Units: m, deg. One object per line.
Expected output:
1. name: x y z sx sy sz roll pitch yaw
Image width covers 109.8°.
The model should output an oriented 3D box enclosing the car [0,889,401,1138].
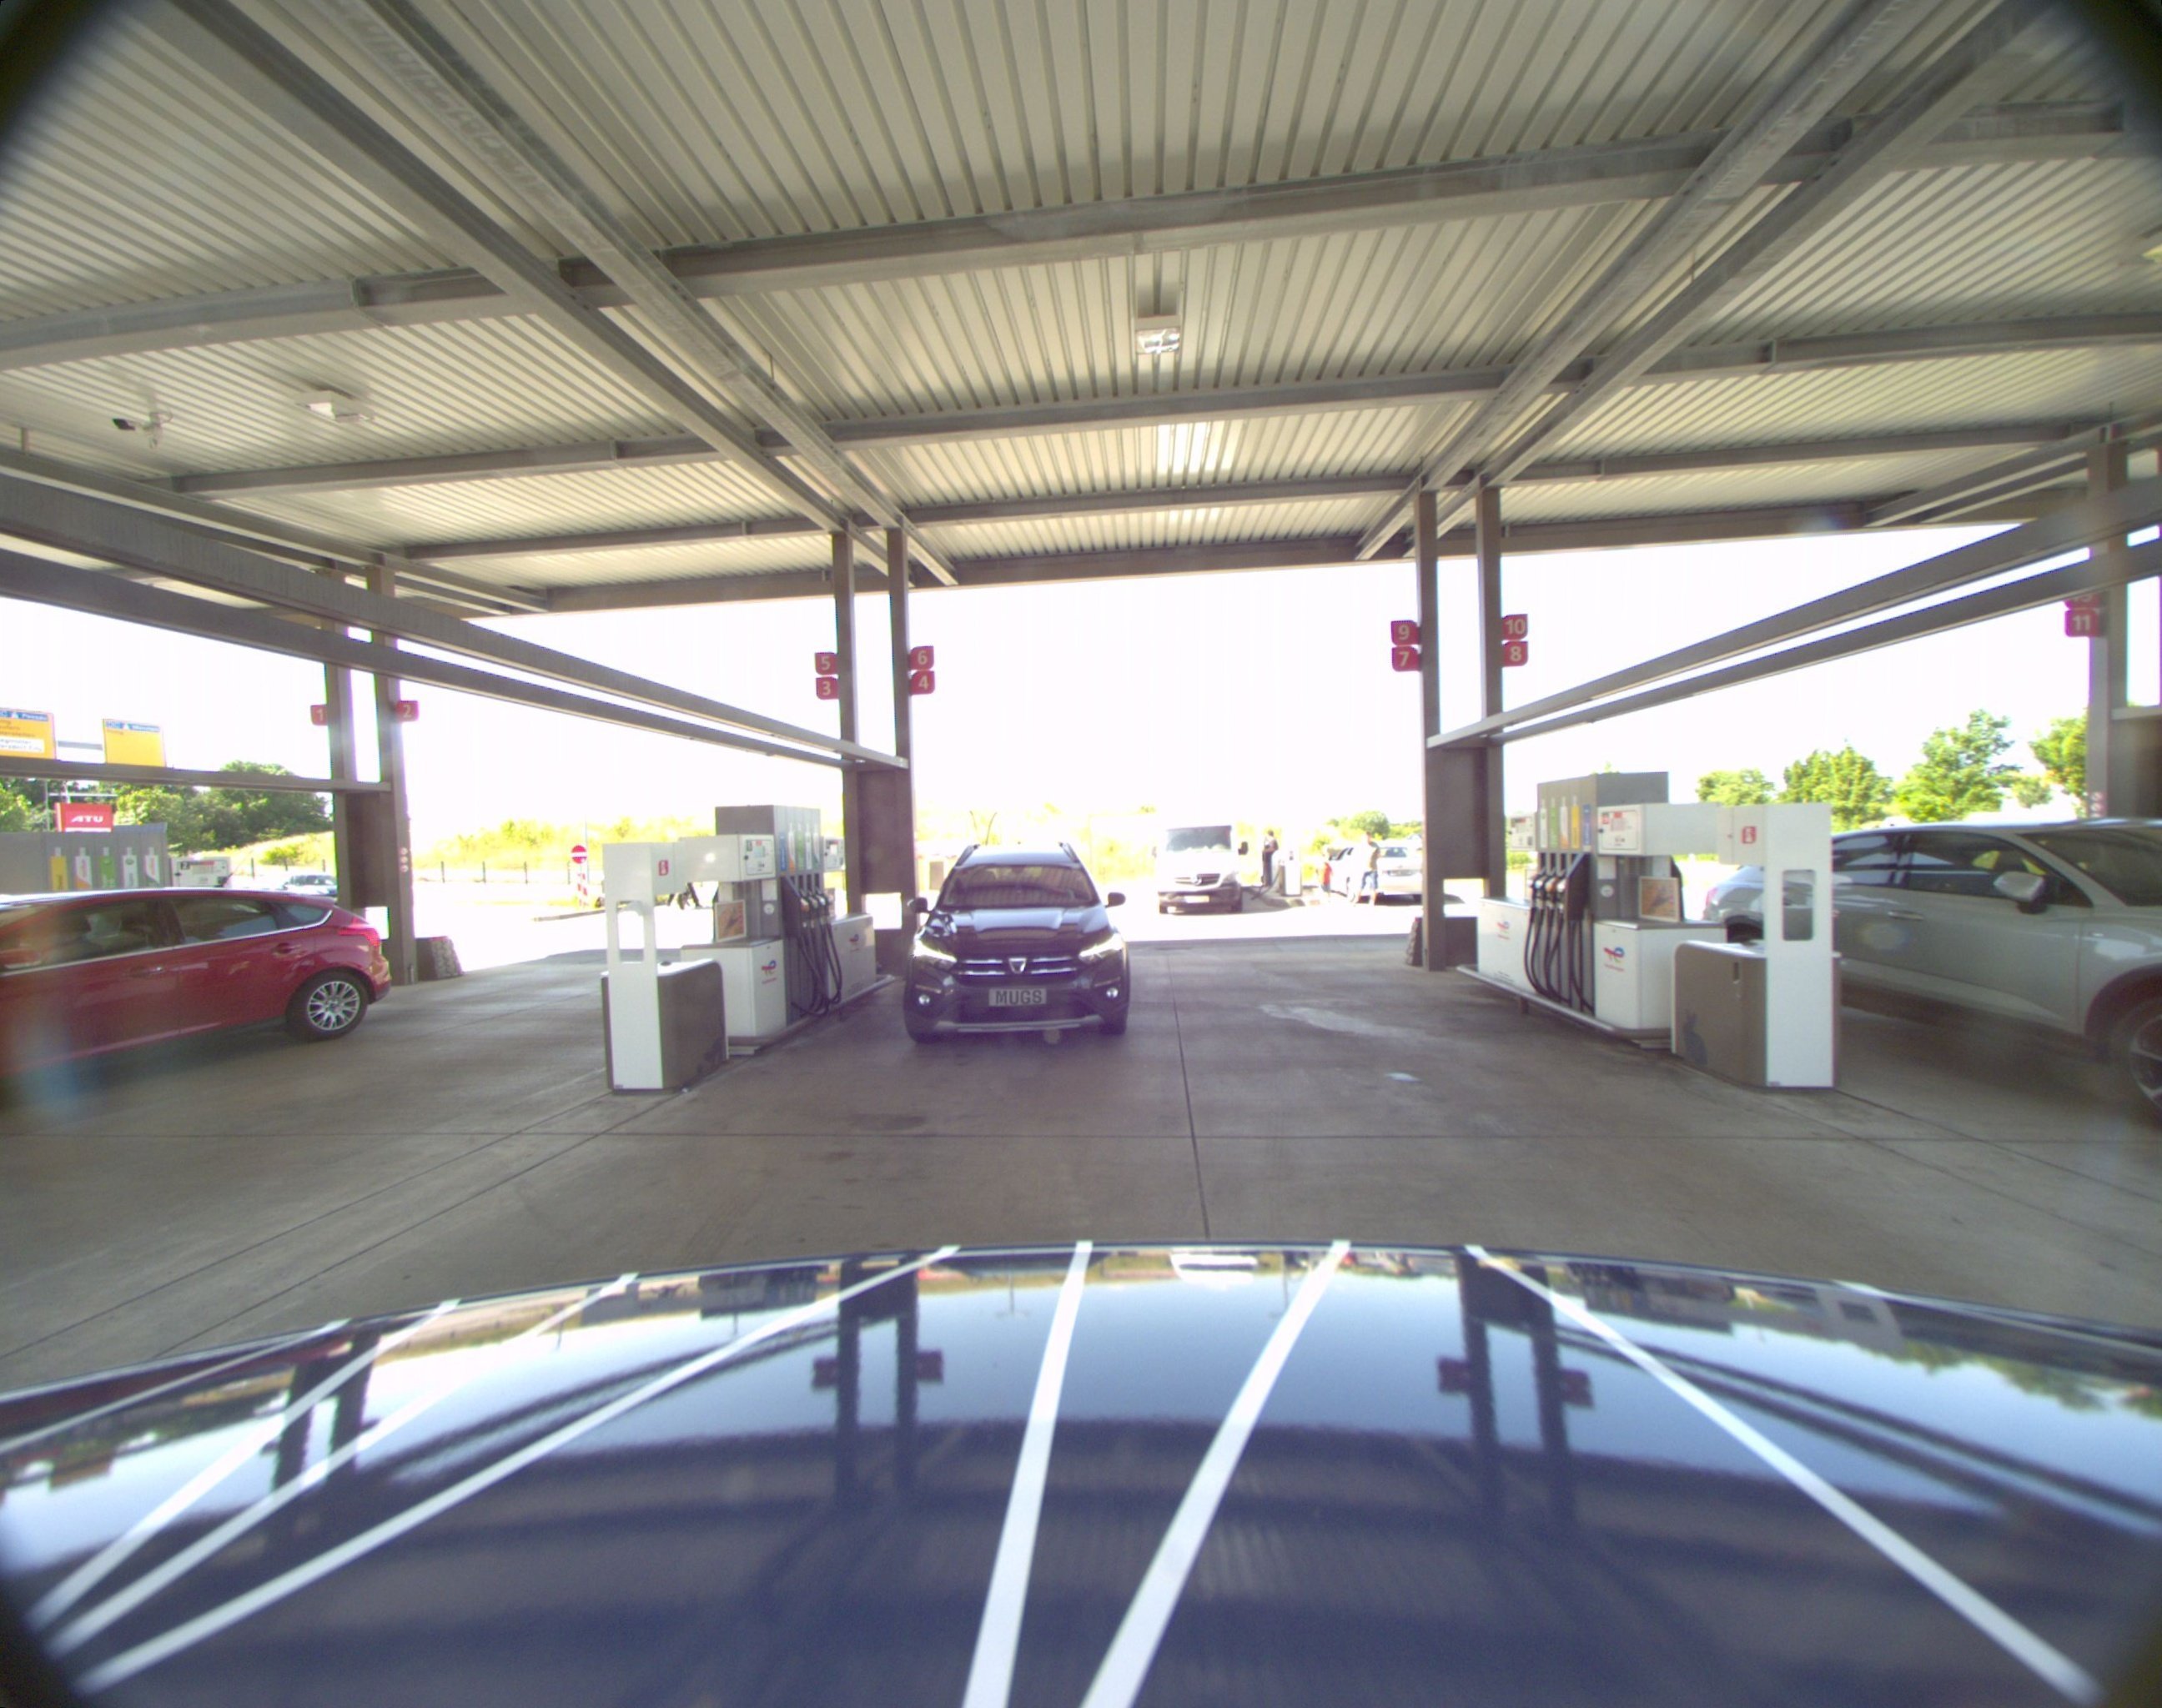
1. car: -7.834 1.127 5.514 1.702 1.460 4.234 -1 1 5

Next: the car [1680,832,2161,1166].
1. car: 6.043 0.655 4.570 1.784 1.532 4.327 -2 1 6

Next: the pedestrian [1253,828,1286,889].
1. pedestrian: 5.566 0.124 22.450 0.844 1.759 0.710 -1 1 9

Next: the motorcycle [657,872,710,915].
1. motorcycle: -12.109 1.174 23.212 1.046 1.100 2.411 -2 2 -19

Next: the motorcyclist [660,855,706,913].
1. motorcyclist: -12.099 0.888 23.155 1.035 1.678 1.097 -2 1 -19

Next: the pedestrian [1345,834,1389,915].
1. pedestrian: 6.320 0.432 16.837 0.708 1.739 0.845 -1 1 8

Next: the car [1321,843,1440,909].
1. car: 7.557 0.475 19.631 1.791 1.420 4.322 -1 2 6

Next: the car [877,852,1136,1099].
1. car: -0.572 0.836 7.580 1.743 1.635 4.631 -2 1 -2

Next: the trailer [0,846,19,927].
1. trailer: -32.512 1.001 21.129 2.003 2.413 3.990 -2 1 -32

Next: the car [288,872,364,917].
1. car: -28.447 1.459 28.591 3.988 1.494 1.813 -1 1 43

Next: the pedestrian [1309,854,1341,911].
1. pedestrian: 5.681 0.659 17.740 0.577 1.299 0.669 -1 1 8

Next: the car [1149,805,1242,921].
1. car: 3.252 0.038 20.250 1.997 2.557 7.034 -1 3 12

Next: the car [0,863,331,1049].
1. car: -12.173 1.062 9.241 2.035 1.840 4.793 -1 0 -12
